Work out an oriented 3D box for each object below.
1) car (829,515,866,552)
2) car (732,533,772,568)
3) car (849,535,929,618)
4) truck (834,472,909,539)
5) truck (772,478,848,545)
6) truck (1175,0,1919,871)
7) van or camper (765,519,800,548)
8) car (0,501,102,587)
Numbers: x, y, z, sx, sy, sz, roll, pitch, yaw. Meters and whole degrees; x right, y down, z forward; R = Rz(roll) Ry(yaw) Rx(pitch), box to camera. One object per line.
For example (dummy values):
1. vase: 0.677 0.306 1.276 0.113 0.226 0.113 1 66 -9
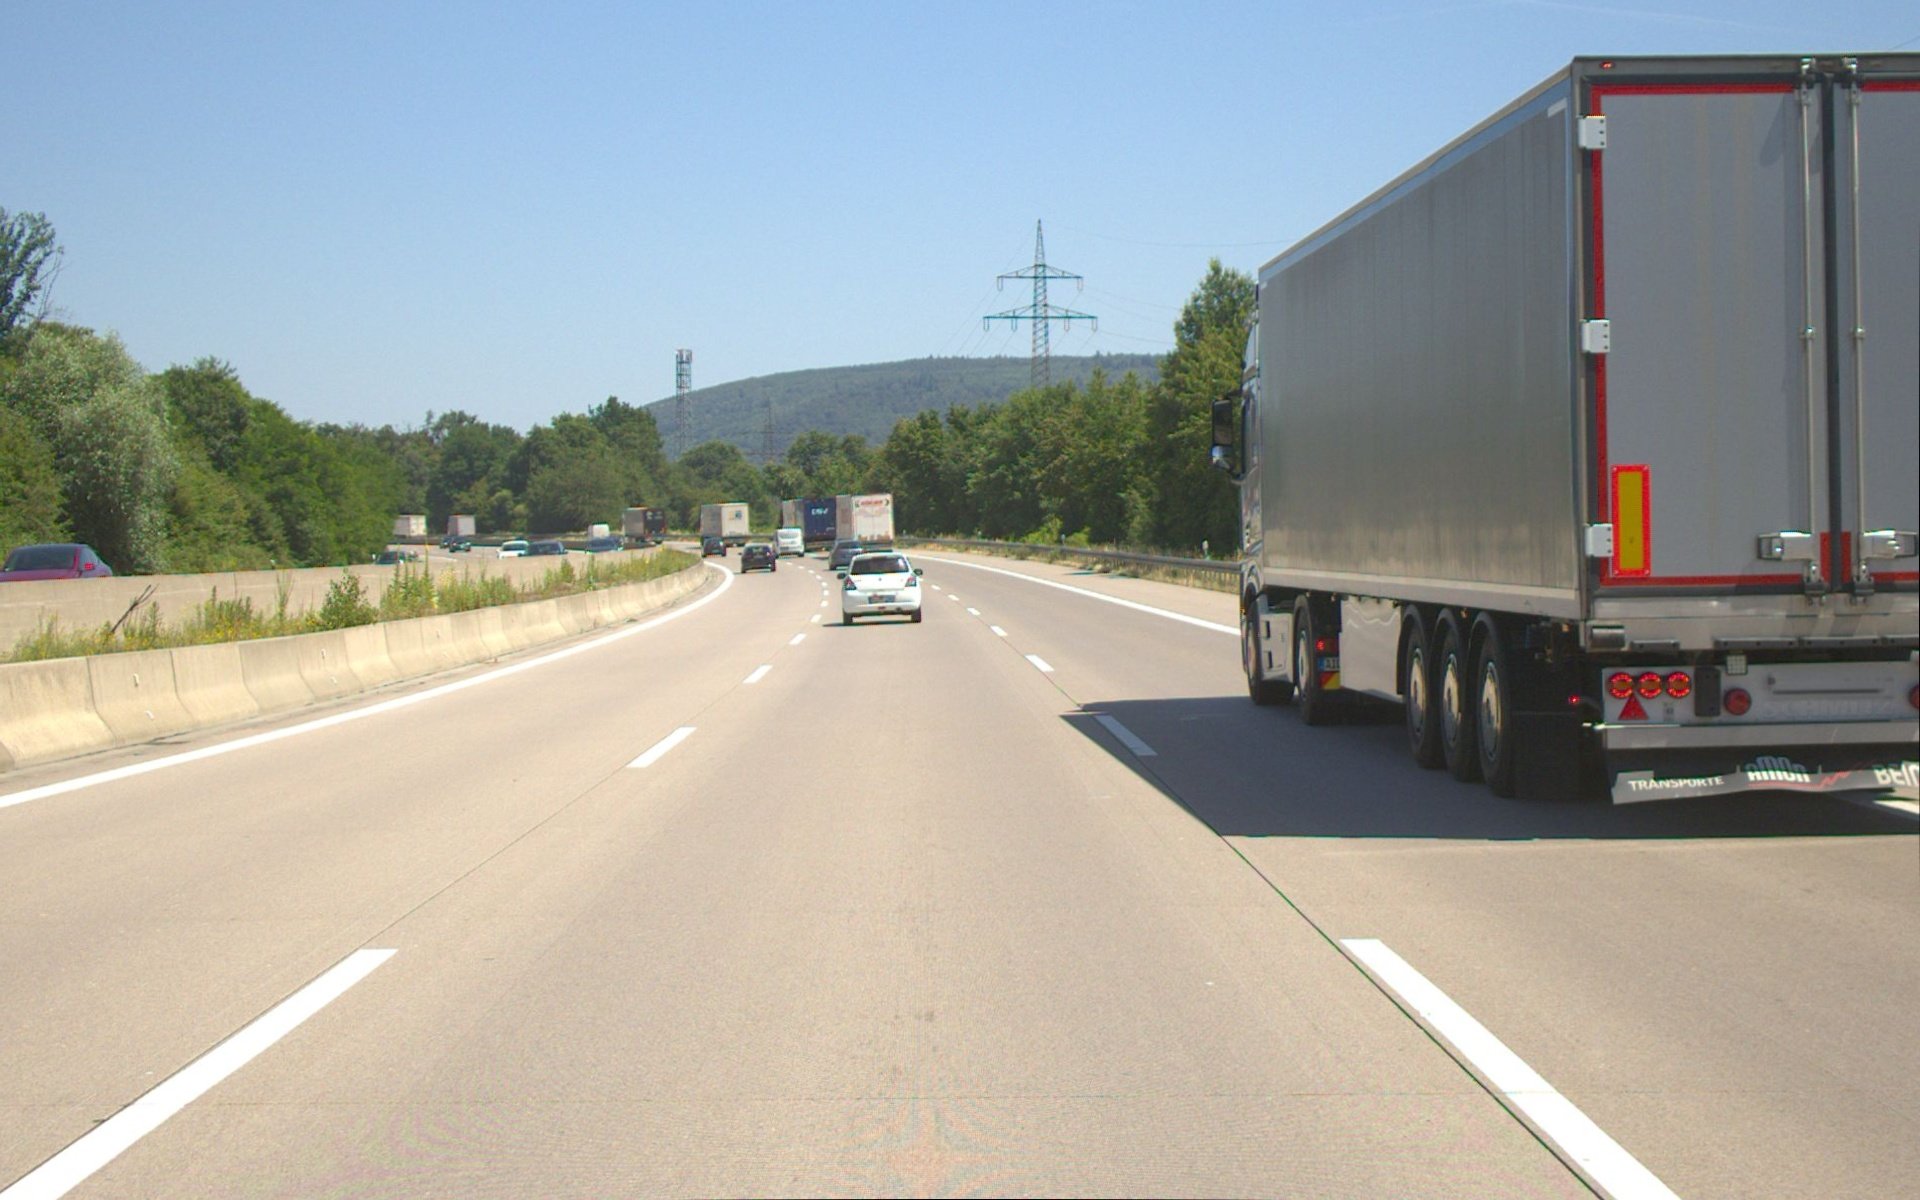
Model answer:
1. car: -5.638 -3.328 171.900 1.610 1.719 3.574 -4 2 -4
2. car: -10.829 -2.583 179.143 2.022 1.694 4.001 2 2 -3
3. car: -1.527 -0.521 73.838 1.641 1.656 3.361 1 2 -1
4. truck: -5.737 -6.083 219.968 3.820 3.876 14.156 -4 2 -4
5. truck: -11.601 -6.813 263.940 3.906 4.725 14.054 -4 2 -9
6. truck: 4.284 -1.924 25.558 3.577 5.767 18.250 0 2 -2
7. van or camper: -12.166 -4.546 235.213 1.867 1.831 4.001 -4 2 -9
8. car: -18.781 -1.150 69.651 1.799 1.664 4.218 -1 1 -2
